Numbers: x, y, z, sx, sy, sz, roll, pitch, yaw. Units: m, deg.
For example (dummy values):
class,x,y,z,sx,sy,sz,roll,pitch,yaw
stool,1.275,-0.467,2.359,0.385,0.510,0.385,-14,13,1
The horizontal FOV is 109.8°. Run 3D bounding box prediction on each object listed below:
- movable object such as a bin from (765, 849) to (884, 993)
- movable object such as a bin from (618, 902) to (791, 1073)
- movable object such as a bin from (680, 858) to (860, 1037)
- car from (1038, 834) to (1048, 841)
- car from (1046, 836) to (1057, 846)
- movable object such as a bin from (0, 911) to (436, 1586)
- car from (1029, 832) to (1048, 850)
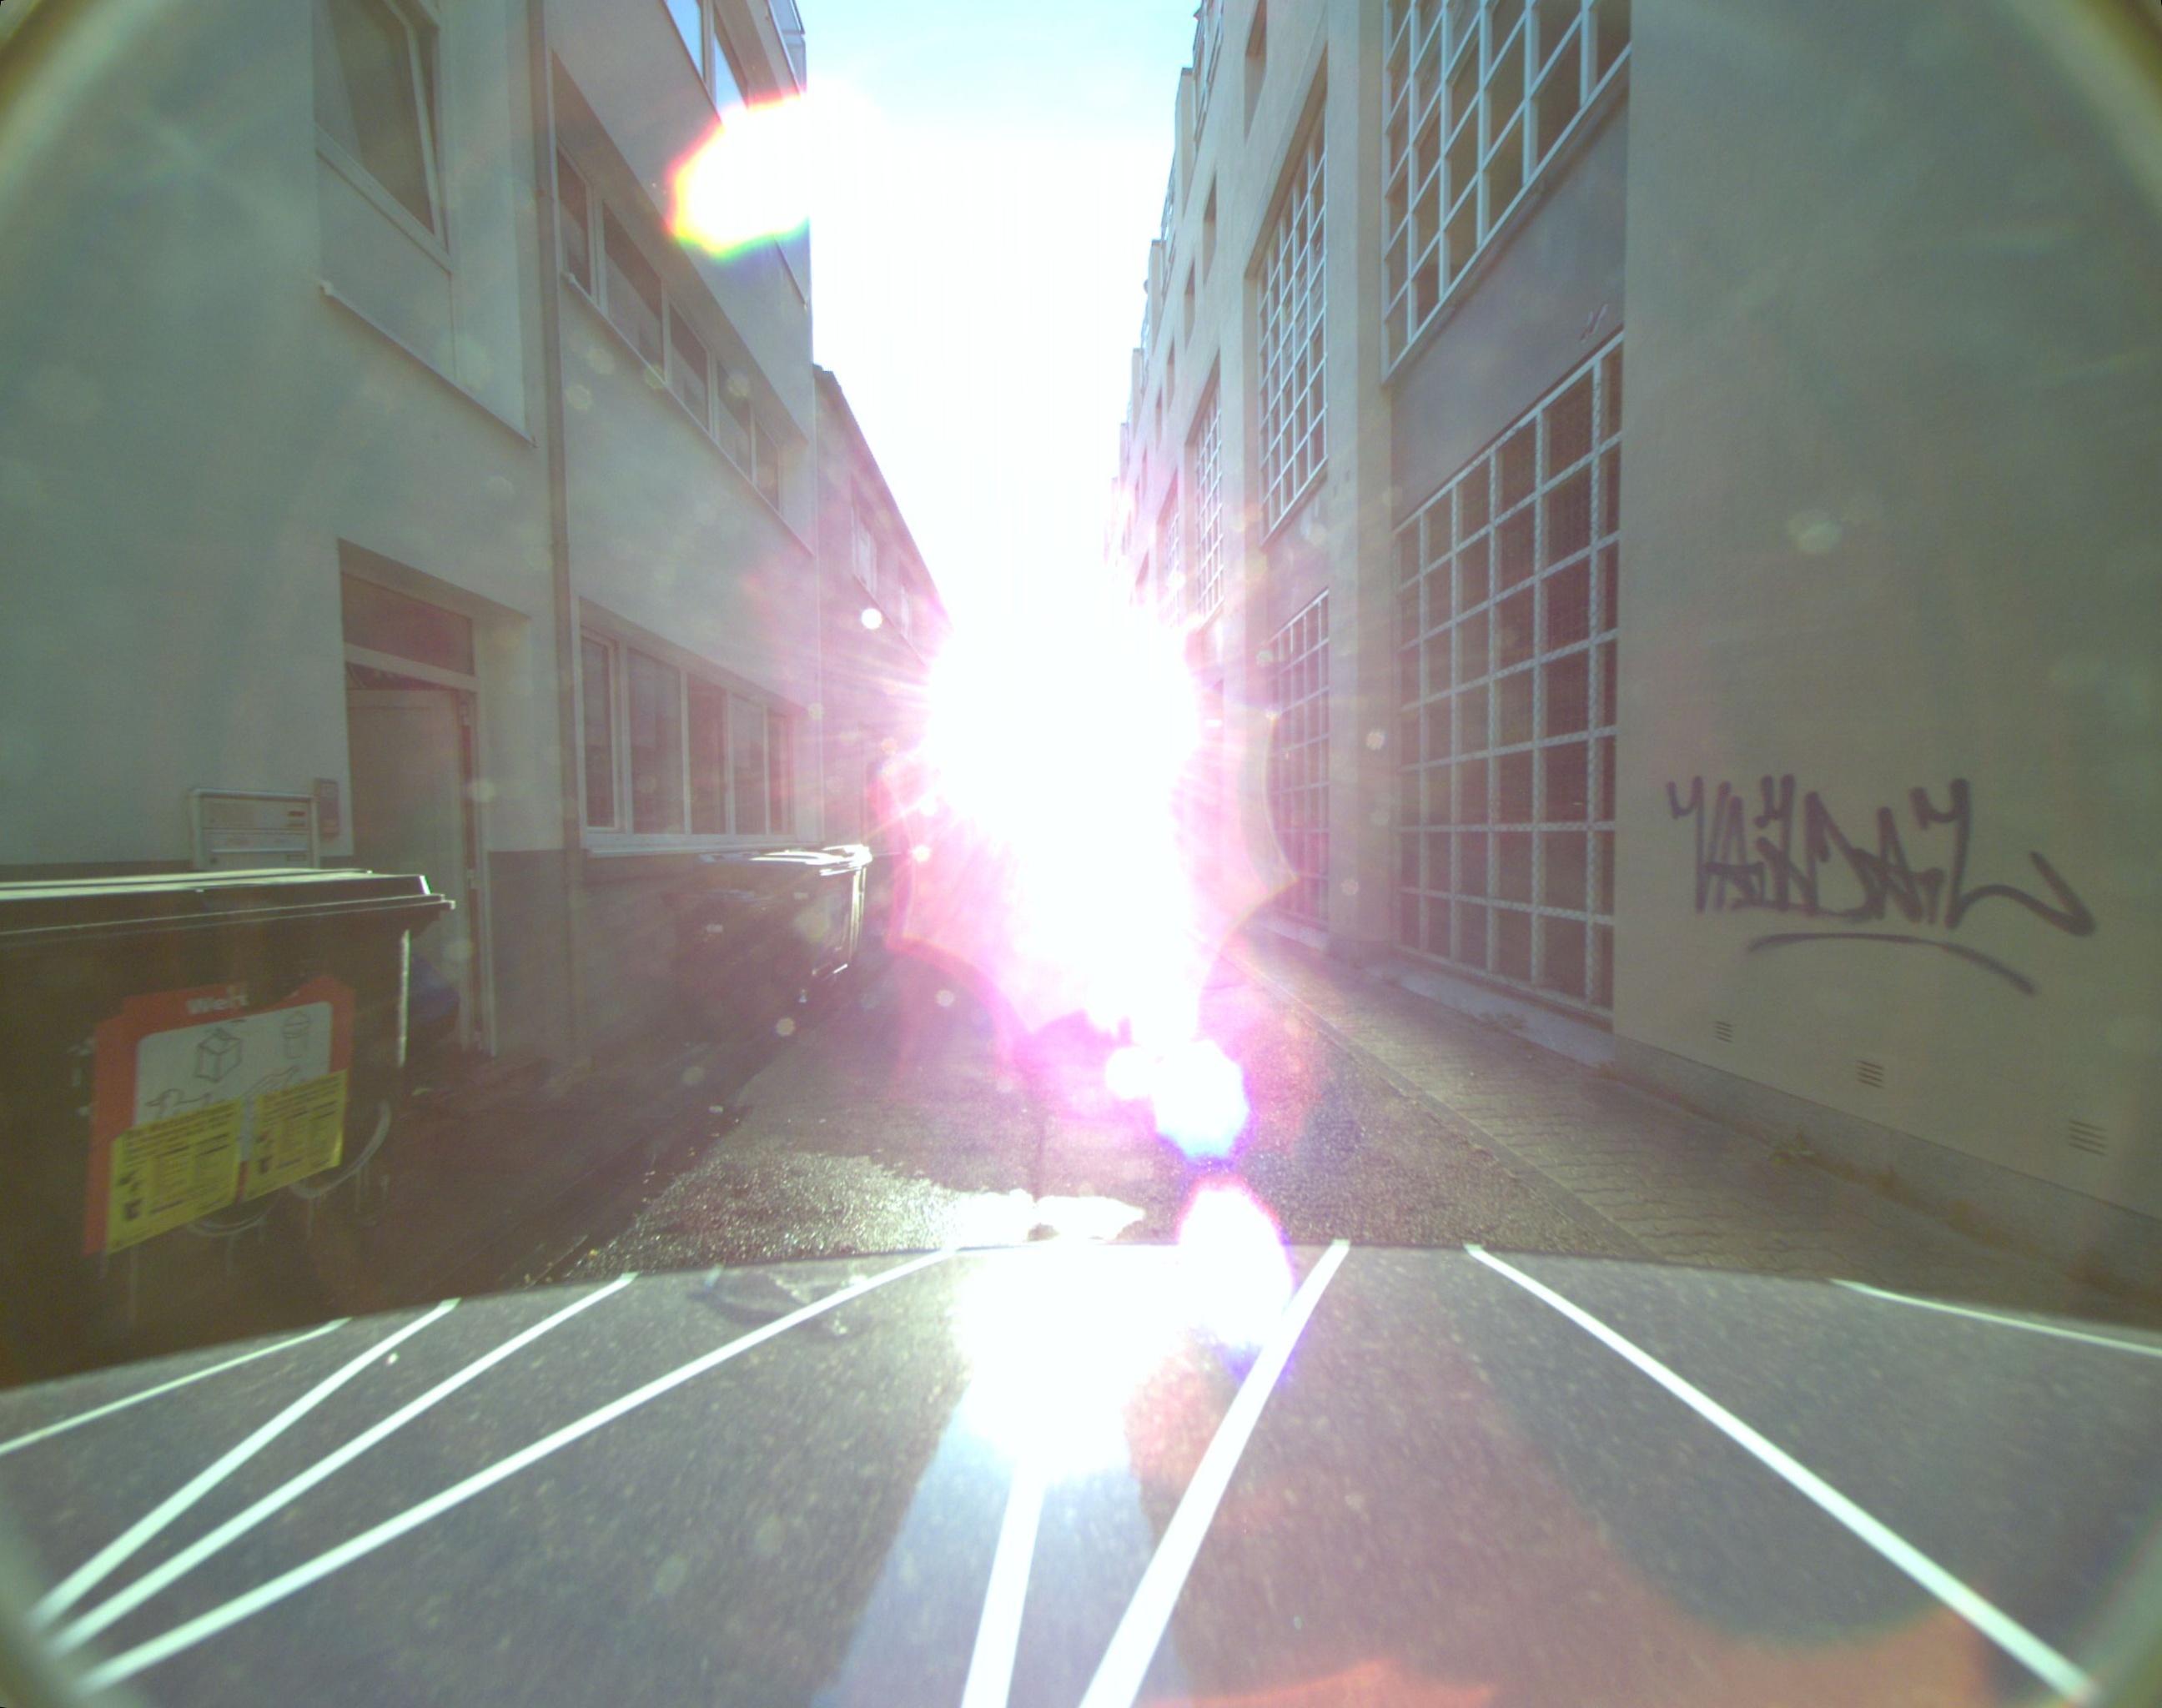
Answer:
class,x,y,z,sx,sy,sz,roll,pitch,yaw
movable object such as a bin,-2.655,0.650,8.041,0.940,1.359,1.341,1,2,-8
movable object such as a bin,-2.642,0.914,5.417,0.871,1.069,0.738,1,2,-4
movable object such as a bin,-2.639,0.746,6.639,1.067,1.359,1.341,1,2,-4
car,-8.252,-3.600,164.424,1.806,1.415,3.752,-2,2,-8
car,-5.619,-2.559,145.807,1.999,1.806,3.997,-3,2,-3
movable object such as a bin,-2.666,0.871,1.989,0.838,1.297,1.290,2,2,1
car,-4.432,-1.409,80.009,1.764,1.757,4.748,-3,1,-2
